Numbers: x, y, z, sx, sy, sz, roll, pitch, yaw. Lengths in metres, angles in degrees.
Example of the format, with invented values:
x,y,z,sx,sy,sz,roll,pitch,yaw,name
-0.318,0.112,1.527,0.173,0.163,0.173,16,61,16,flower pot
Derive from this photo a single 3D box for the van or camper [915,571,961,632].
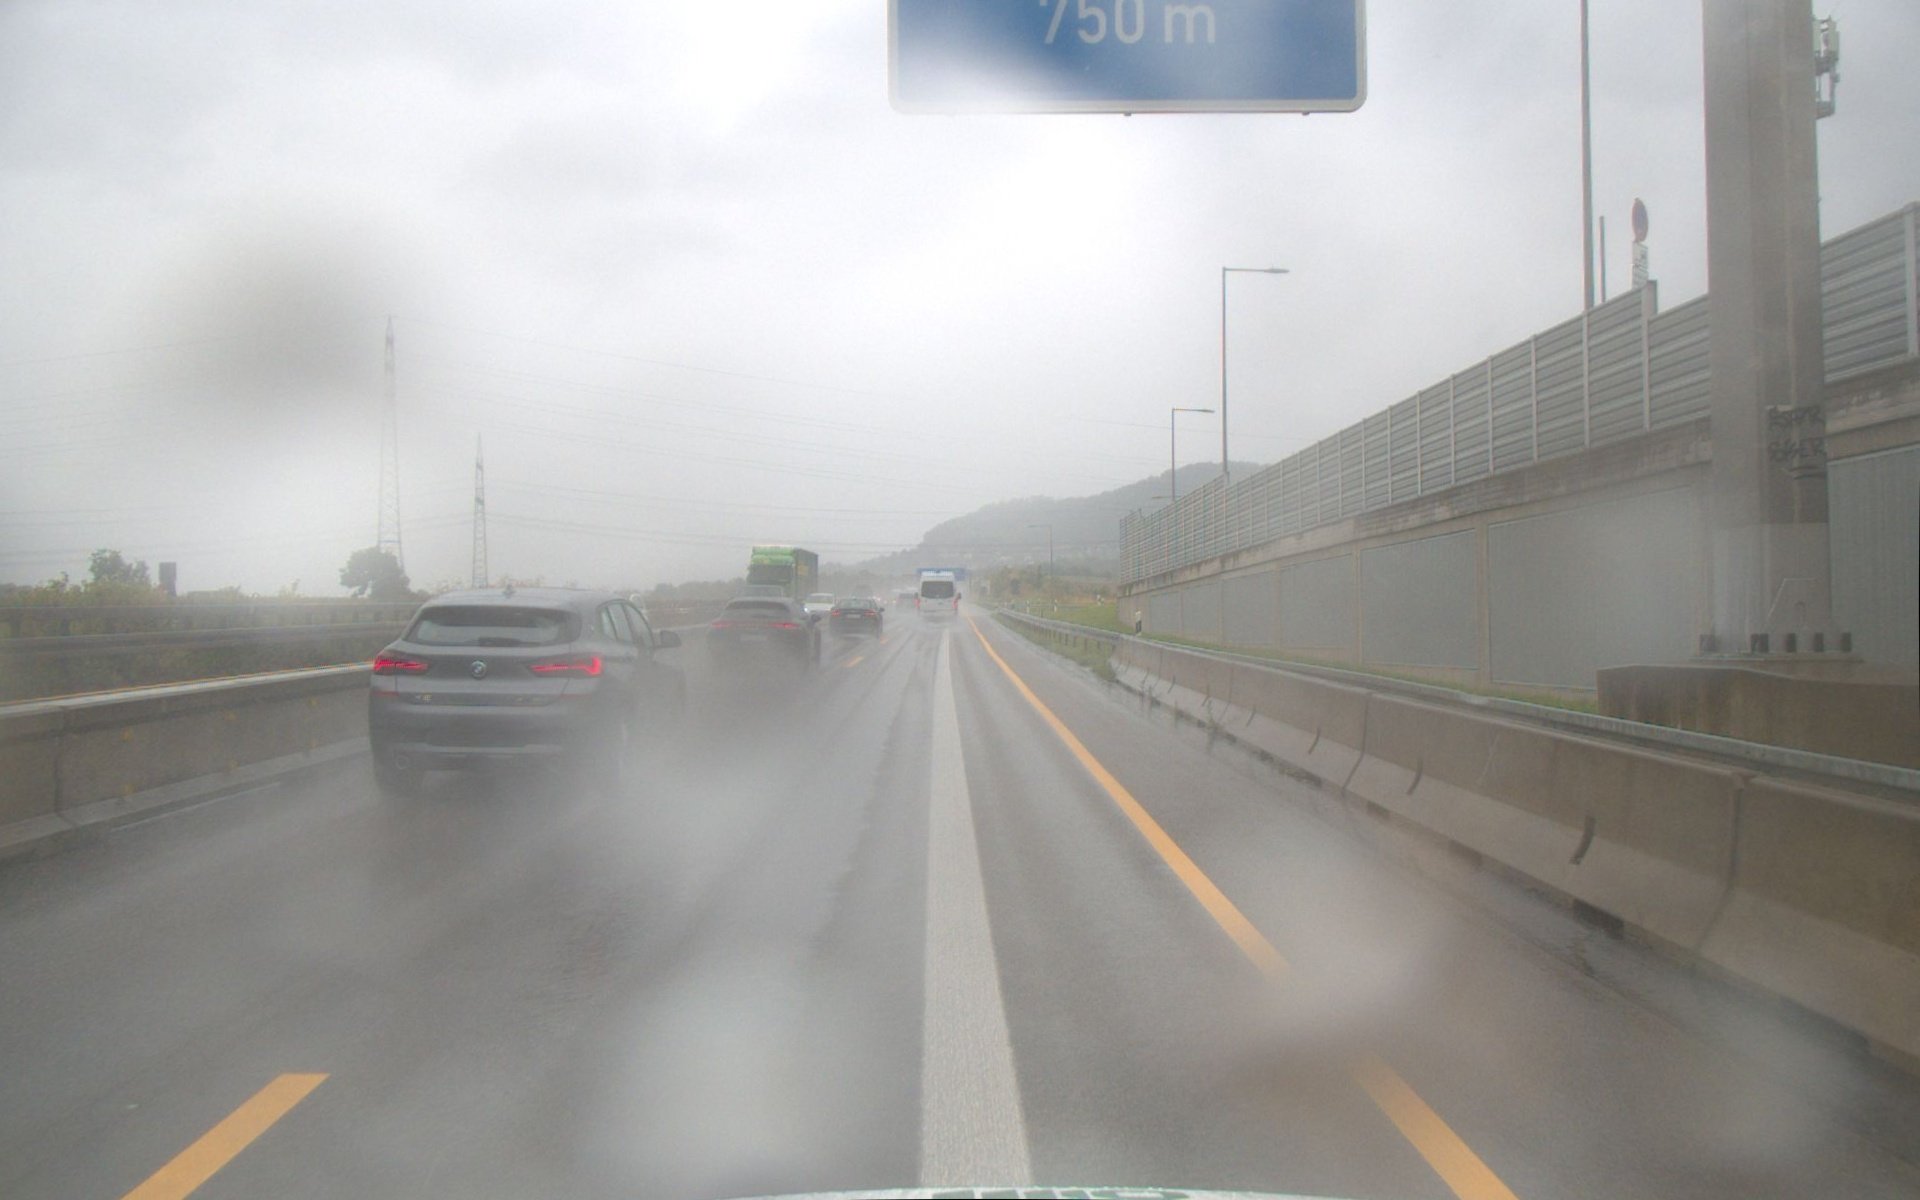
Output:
x,y,z,sx,sy,sz,roll,pitch,yaw,name
-1.072,0.115,79.904,1.957,2.826,4.045,1,-1,-4,van or camper

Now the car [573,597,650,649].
x,y,z,sx,sy,sz,roll,pitch,yaw,name
-10.254,0.653,48.830,1.537,1.461,3.892,0,0,-1,car

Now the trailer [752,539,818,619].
x,y,z,sx,sy,sz,roll,pitch,yaw,name
-10.557,-1.206,100.994,2.528,4.535,13.551,1,0,0,trailer

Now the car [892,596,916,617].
x,y,z,sx,sy,sz,roll,pitch,yaw,name
-4.229,0.516,124.897,1.534,1.506,2.822,-2,-1,2,car

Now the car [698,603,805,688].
x,y,z,sx,sy,sz,roll,pitch,yaw,name
-3.965,0.876,32.089,1.808,1.517,4.257,1,-1,-4,car

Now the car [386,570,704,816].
x,y,z,sx,sy,sz,roll,pitch,yaw,name
-3.145,0.675,13.493,1.667,1.626,4.840,1,-1,-4,car

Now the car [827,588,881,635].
x,y,z,sx,sy,sz,roll,pitch,yaw,name
-3.775,0.387,58.616,1.808,1.517,4.258,-2,0,-4,car
